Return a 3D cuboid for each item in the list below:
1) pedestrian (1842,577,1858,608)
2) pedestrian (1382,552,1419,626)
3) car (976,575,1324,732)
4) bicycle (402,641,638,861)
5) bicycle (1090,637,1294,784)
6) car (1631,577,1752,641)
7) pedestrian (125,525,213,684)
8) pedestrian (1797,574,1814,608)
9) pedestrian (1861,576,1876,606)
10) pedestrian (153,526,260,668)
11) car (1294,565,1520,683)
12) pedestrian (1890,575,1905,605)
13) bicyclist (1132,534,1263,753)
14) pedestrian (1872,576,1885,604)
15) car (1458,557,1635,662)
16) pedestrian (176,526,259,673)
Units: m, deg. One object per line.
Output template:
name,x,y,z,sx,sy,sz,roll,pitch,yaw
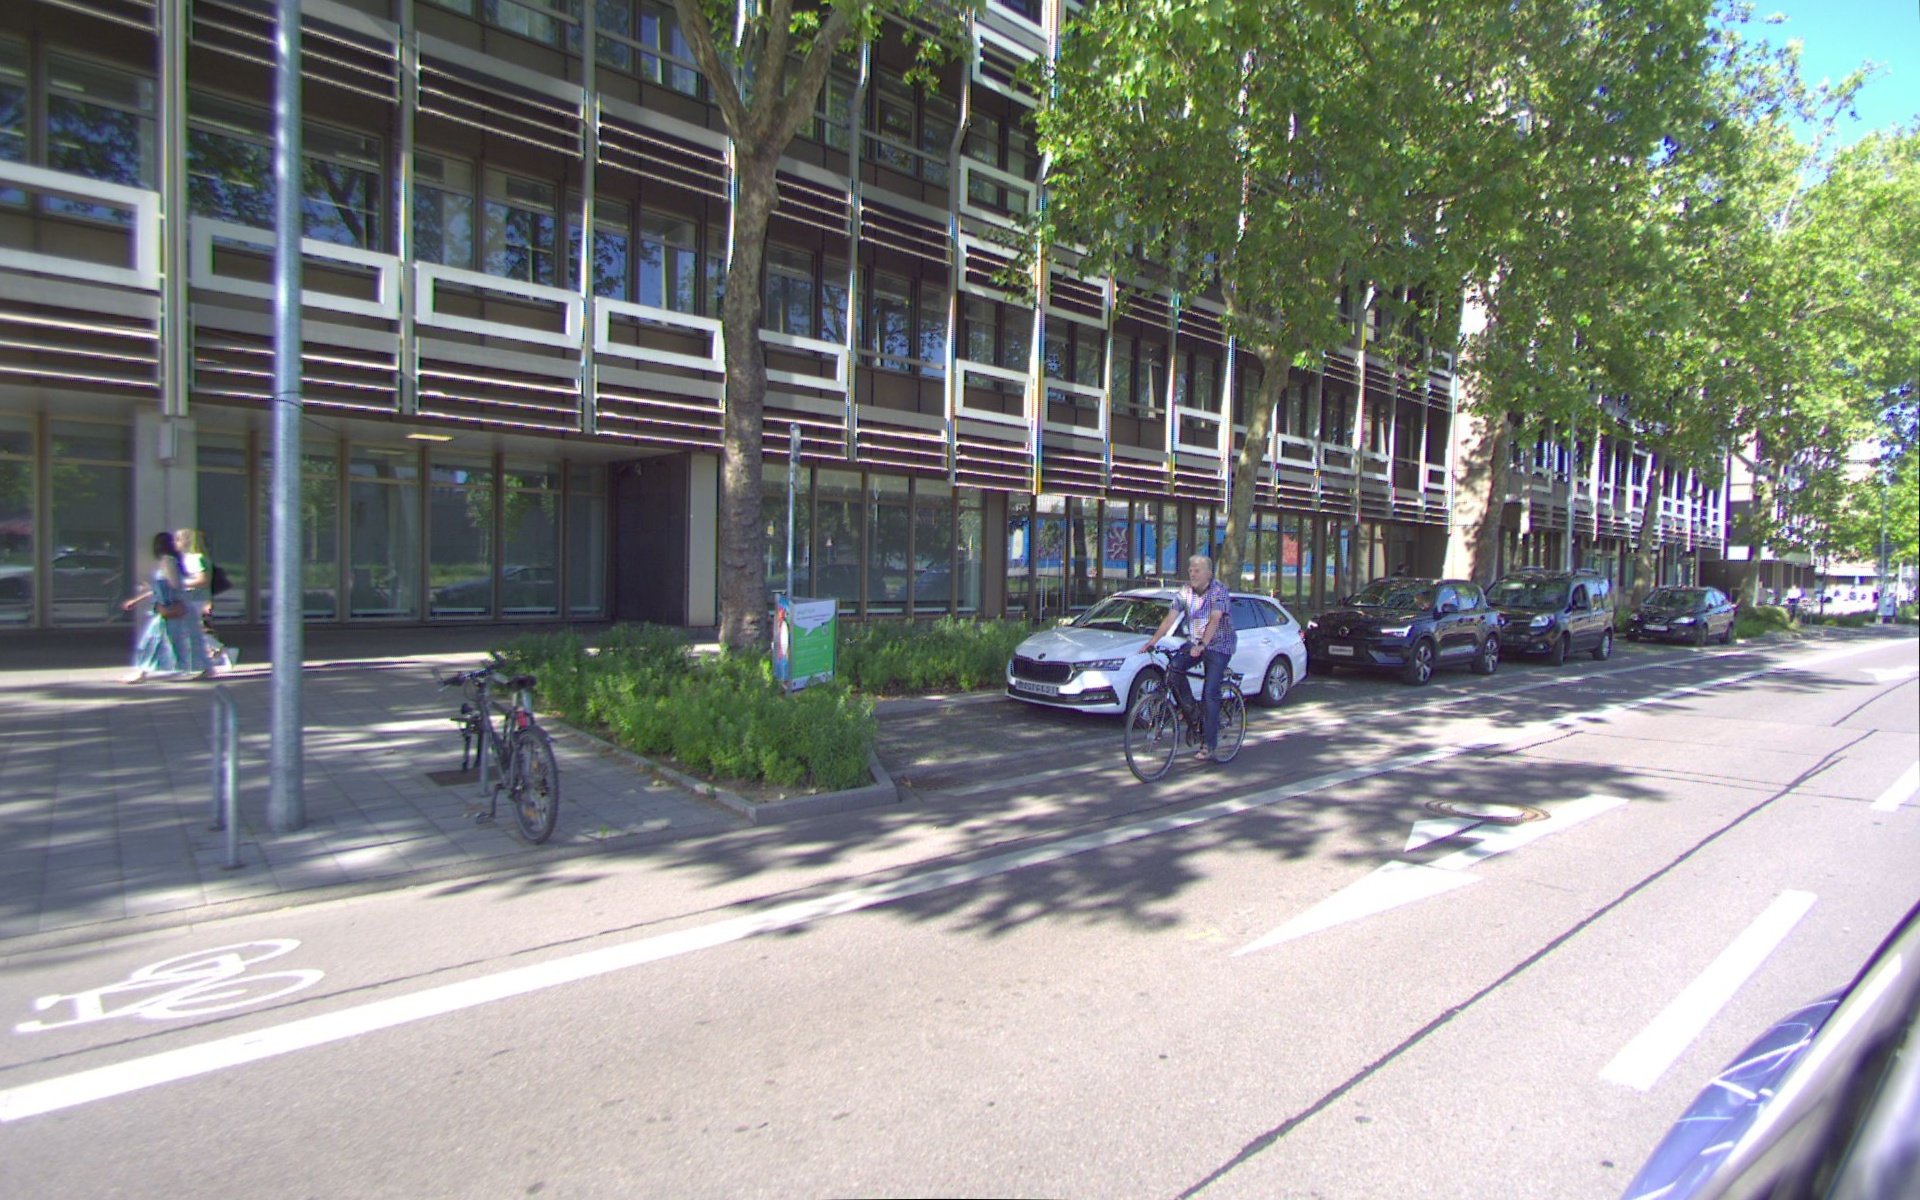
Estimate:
pedestrian,52.563,-0.448,59.782,0.684,1.863,0.591,0,1,-42
pedestrian,12.355,-0.317,28.393,0.615,2.039,0.740,0,1,-41
car,2.454,0.510,12.313,4.481,1.508,1.751,0,3,-42
bicycle,-2.766,0.837,6.247,0.700,0.972,1.845,0,4,-45
bicycle,1.976,0.856,8.444,1.891,1.006,0.710,-1,0,-43
car,20.155,0.208,27.827,4.262,1.573,1.751,0,3,-42
pedestrian,-8.463,0.029,10.823,0.715,1.620,0.668,0,4,-40
pedestrian,48.191,-0.516,57.689,0.685,1.863,0.591,0,1,-42
pedestrian,56.562,-0.556,63.000,0.559,1.863,0.591,0,1,-42
pedestrian,-9.090,-0.052,12.211,0.991,1.620,0.668,0,4,-41
car,7.457,0.309,16.712,4.262,1.653,1.751,0,3,-42
pedestrian,57.945,-0.626,62.525,0.559,1.863,0.591,0,1,-42
bicyclist,1.985,0.338,8.455,0.838,1.709,0.710,0,-1,-42
pedestrian,62.148,-0.705,68.462,0.559,1.863,0.591,0,1,-42
car,11.838,0.135,20.308,4.262,1.843,1.751,0,3,-42
pedestrian,-8.563,-0.024,11.672,0.715,1.620,0.668,0,4,-40
